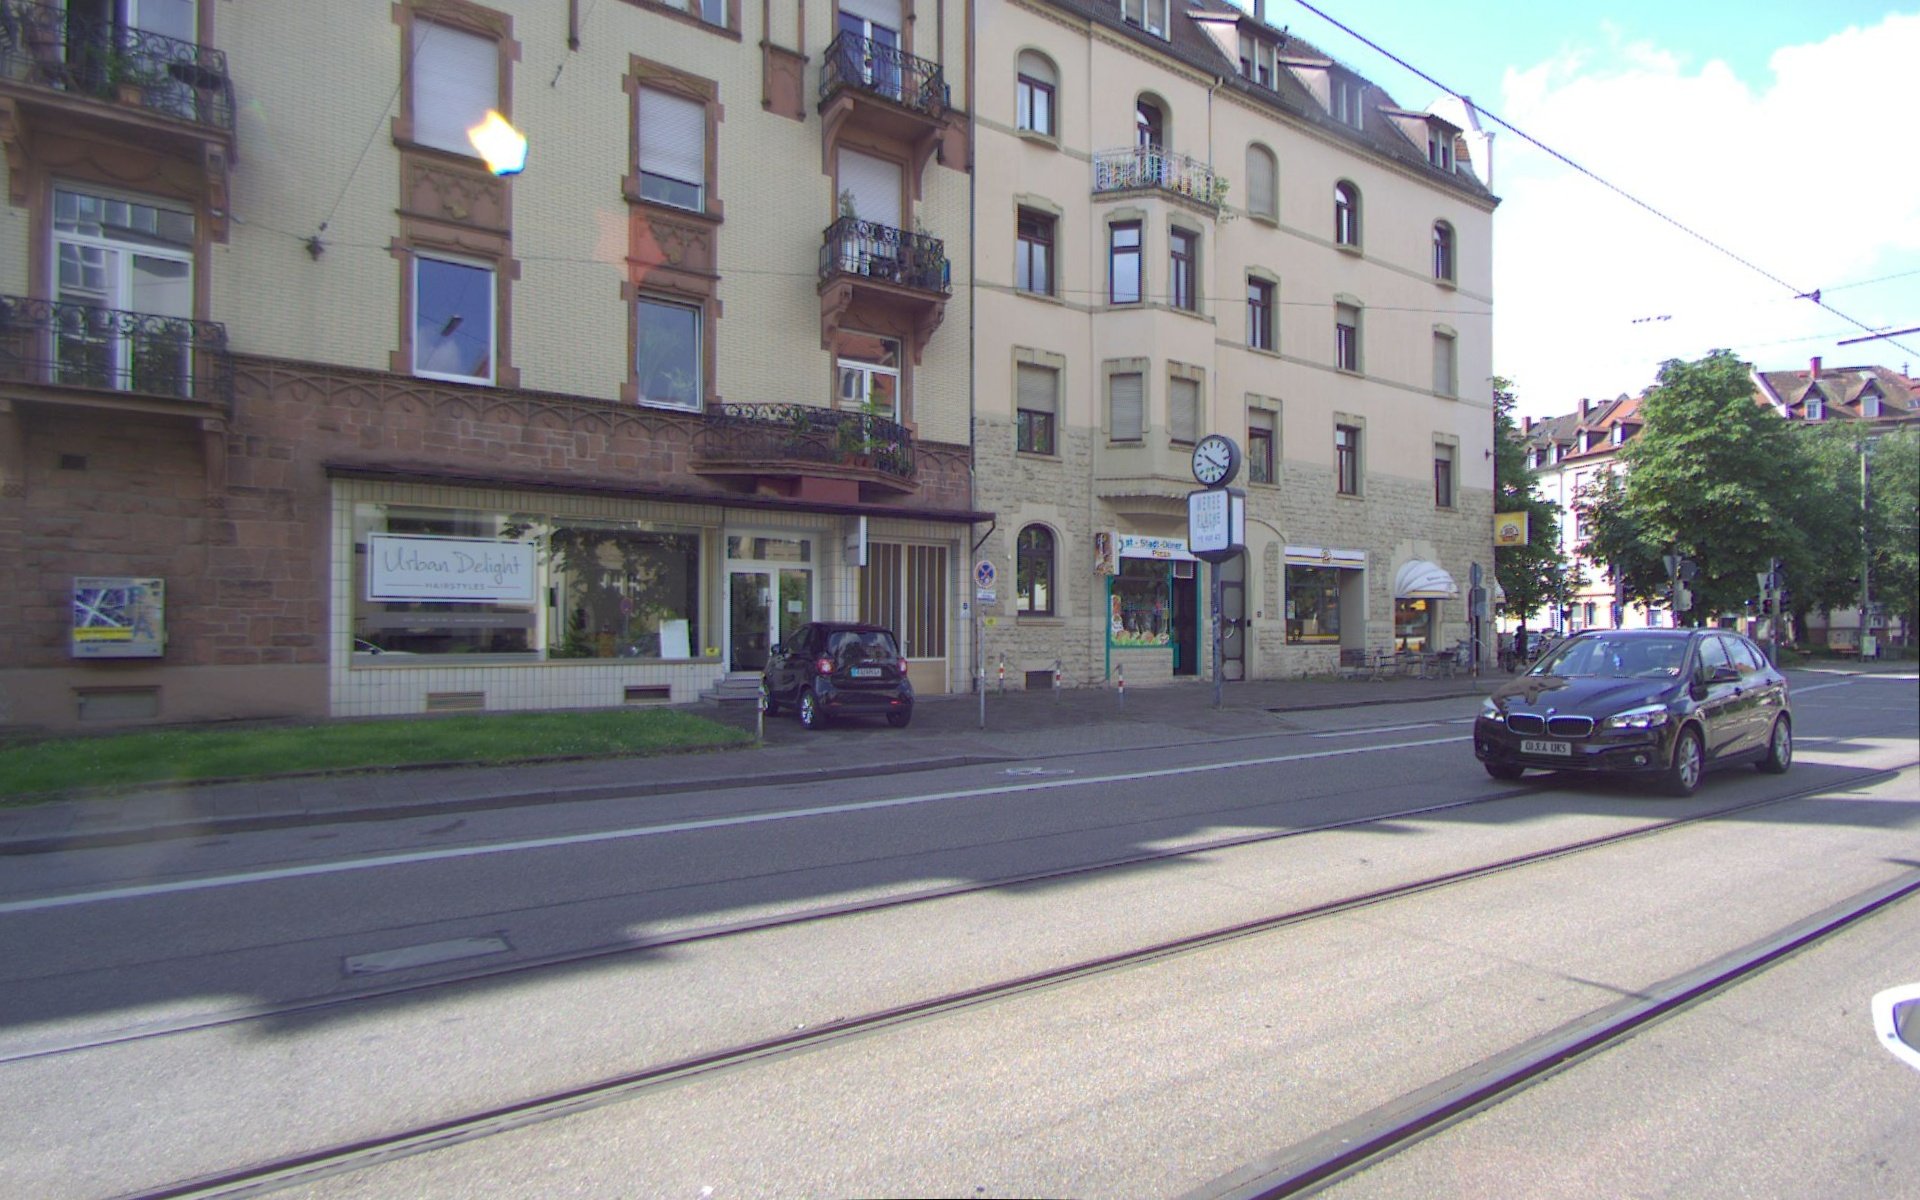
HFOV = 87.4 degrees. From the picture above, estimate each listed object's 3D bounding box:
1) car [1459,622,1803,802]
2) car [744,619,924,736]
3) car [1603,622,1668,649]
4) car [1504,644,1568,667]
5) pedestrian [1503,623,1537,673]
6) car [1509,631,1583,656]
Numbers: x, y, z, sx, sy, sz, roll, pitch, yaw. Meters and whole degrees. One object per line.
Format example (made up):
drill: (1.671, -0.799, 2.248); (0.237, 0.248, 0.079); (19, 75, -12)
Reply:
car: (7.095, 1.017, 10.495); (4.030, 1.538, 1.743); (1, -2, -37)
car: (-2.070, 1.119, 15.836); (1.716, 1.505, 3.162); (1, 1, -30)
car: (50.181, 2.638, 74.730); (1.962, 1.929, 3.997); (0, -2, -5)
car: (31.692, 3.019, 55.198); (3.963, 1.198, 1.661); (1, -2, -37)
pedestrian: (19.195, 1.634, 34.450); (0.690, 1.706, 0.750); (1, -1, -21)
car: (39.891, 2.923, 68.467); (1.976, 1.617, 3.970); (1, -2, -29)
